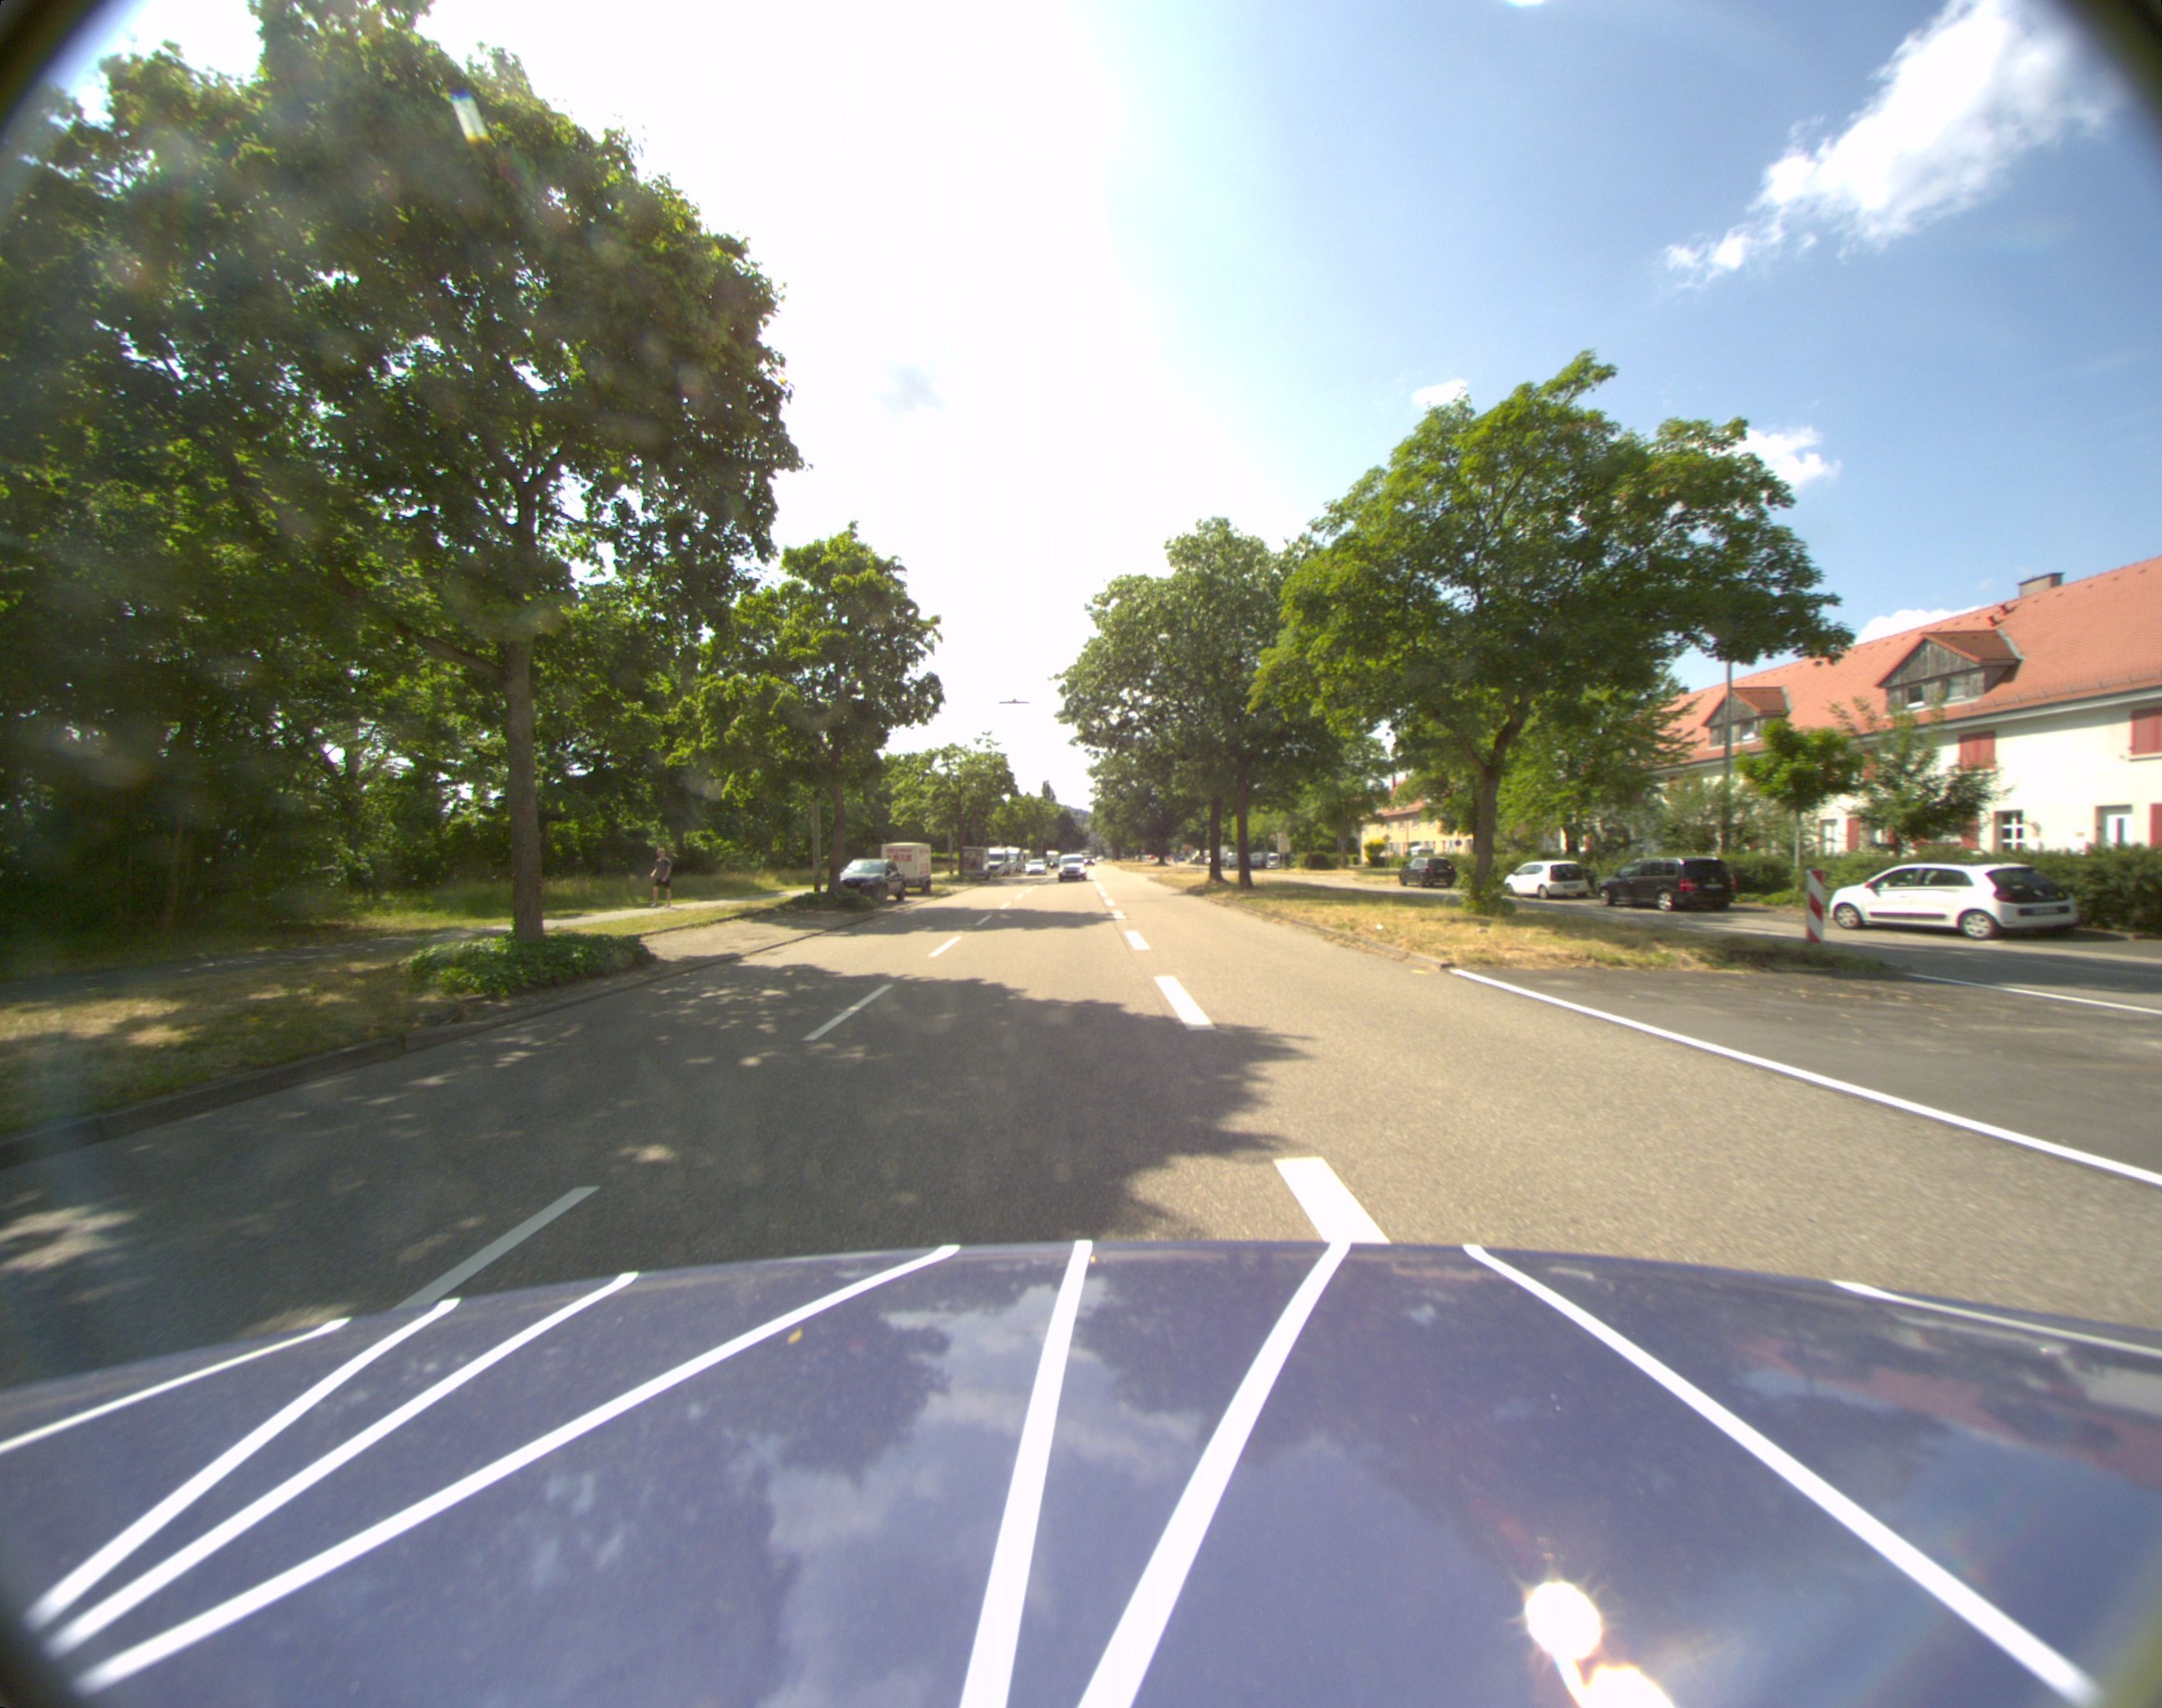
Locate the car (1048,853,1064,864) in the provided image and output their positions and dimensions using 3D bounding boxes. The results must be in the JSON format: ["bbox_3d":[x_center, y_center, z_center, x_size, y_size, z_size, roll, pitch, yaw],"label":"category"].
[{"bbox_3d":[-3.367,0.620,102.653,1.892,1.281,3.999,-3,1,0],"label":"car"}]

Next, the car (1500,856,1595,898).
[{"bbox_3d":[18.686,0.883,30.594,1.598,1.452,3.534,-3,1,0],"label":"car"}]

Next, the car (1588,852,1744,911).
[{"bbox_3d":[18.539,0.800,24.361,1.664,1.603,4.313,-3,1,0],"label":"car"}]

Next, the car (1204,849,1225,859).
[{"bbox_3d":[22.878,-0.014,130.225,1.668,1.456,3.827,-2,1,42],"label":"car"}]

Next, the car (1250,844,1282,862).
[{"bbox_3d":[22.749,-0.092,93.318,4.007,2.002,1.800,-3,1,-42],"label":"car"}]

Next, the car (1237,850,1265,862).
[{"bbox_3d":[22.289,0.219,99.474,4.007,1.390,1.569,-3,1,-42],"label":"car"}]

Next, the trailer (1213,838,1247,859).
[{"bbox_3d":[23.410,-0.824,119.144,2.820,3.090,5.764,-2,0,39],"label":"trailer"}]

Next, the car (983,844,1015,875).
[{"bbox_3d":[-7.472,0.453,69.687,2.181,2.680,6.150,-3,1,0],"label":"car"}]

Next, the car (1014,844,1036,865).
[{"bbox_3d":[-7.153,-0.029,96.931,2.262,2.526,6.767,1,1,0],"label":"car"}]

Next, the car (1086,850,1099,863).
[{"bbox_3d":[1.841,0.318,118.861,1.768,1.893,4.541,-2,1,2],"label":"car"}]

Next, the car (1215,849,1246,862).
[{"bbox_3d":[21.035,0.206,107.163,3.997,1.502,1.800,-3,1,1],"label":"car"}]

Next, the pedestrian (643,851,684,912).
[{"bbox_3d":[-12.478,0.813,22.748,0.719,1.783,0.740,-3,1,0],"label":"pedestrian"}]

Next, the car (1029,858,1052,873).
[{"bbox_3d":[-3.782,1.086,72.016,1.892,1.281,3.999,-3,1,0],"label":"car"}]

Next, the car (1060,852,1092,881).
[{"bbox_3d":[-0.313,0.828,51.616,1.935,1.774,4.716,-3,0,2],"label":"car"}]

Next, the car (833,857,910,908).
[{"bbox_3d":[-7.663,0.987,28.248,1.595,1.681,4.361,0,1,1],"label":"car"}]

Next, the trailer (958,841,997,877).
[{"bbox_3d":[-7.514,0.321,55.480,1.998,2.352,4.781,4,1,1],"label":"trailer"}]

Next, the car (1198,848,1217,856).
[{"bbox_3d":[23.059,-0.332,138.346,1.668,1.341,3.827,-2,1,42],"label":"car"}]

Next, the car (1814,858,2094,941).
[{"bbox_3d":[18.689,0.888,16.561,1.664,1.443,3.846,-3,1,0],"label":"car"}]

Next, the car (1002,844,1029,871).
[{"bbox_3d":[-7.088,0.301,83.119,2.262,2.787,6.767,2,1,0],"label":"car"}]

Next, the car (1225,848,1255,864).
[{"bbox_3d":[21.425,0.287,102.158,4.007,2.002,1.800,-3,1,-42],"label":"car"}]

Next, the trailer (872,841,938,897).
[{"bbox_3d":[-7.926,0.614,34.661,1.958,2.338,4.605,1,1,-1],"label":"trailer"}]

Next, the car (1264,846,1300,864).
[{"bbox_3d":[22.204,0.097,83.859,4.008,1.849,1.800,-1,0,-42],"label":"car"}]

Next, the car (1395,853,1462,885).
[{"bbox_3d":[18.820,0.766,41.344,1.772,1.543,3.999,-3,1,0],"label":"car"}]
